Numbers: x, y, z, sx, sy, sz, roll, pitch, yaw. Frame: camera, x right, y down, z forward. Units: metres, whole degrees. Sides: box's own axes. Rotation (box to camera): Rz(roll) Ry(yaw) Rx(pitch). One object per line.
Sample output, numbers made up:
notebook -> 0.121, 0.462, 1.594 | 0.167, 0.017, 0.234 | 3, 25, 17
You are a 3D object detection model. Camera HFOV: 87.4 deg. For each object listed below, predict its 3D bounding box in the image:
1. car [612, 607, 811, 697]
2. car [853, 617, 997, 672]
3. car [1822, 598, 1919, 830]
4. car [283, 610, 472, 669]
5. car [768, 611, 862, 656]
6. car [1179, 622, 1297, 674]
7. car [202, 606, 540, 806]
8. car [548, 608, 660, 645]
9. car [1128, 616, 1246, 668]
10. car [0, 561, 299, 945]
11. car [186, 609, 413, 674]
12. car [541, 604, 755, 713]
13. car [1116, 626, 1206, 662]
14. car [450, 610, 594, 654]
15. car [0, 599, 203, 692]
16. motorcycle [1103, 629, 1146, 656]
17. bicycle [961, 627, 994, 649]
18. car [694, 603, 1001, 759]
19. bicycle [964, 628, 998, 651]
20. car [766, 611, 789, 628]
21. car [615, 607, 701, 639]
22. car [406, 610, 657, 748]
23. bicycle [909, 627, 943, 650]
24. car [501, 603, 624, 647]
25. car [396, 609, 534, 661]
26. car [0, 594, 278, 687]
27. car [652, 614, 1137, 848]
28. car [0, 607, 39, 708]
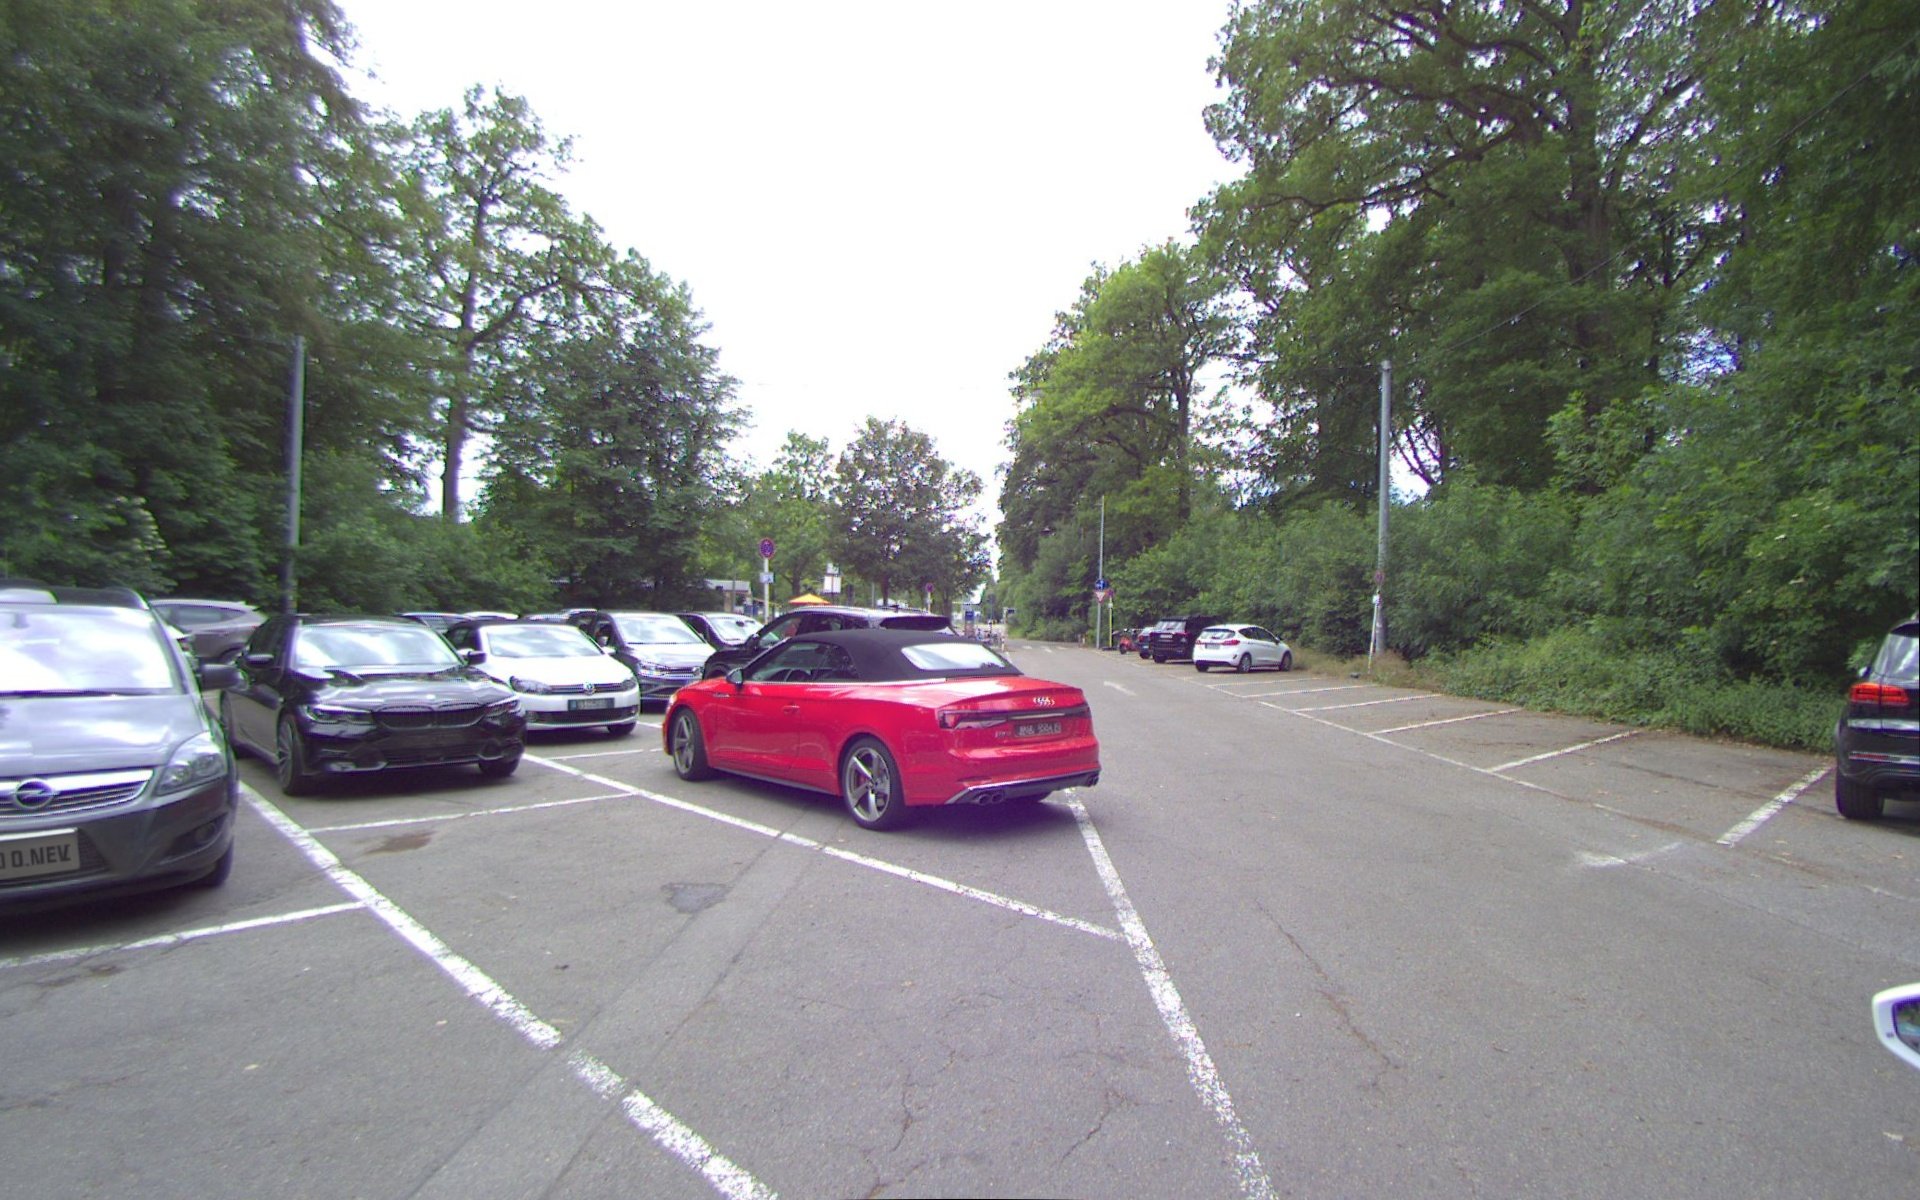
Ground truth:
car -> -4.997, 0.978, 19.986 | 3.939, 1.575, 1.865 | 0, -2, 40
car -> -1.111, 1.279, 30.095 | 4.256, 1.461, 1.859 | 0, -1, 44
car -> 8.766, 0.895, 8.521 | 4.042, 1.707, 1.762 | 2, -1, -43
car -> -15.854, 1.080, 27.477 | 4.158, 1.477, 1.781 | 3, -1, -44
car -> -5.560, 1.256, 38.273 | 3.603, 1.606, 1.677 | 0, -1, 44
car -> 8.843, 1.506, 31.803 | 3.972, 1.530, 1.846 | 3, -2, -44
car -> -5.774, 0.819, 9.602 | 4.221, 1.462, 1.749 | 0, -1, 45
car -> -15.100, 1.132, 42.721 | 4.087, 1.457, 1.847 | 2, -1, -41
car -> 8.585, 1.563, 37.756 | 4.676, 1.790, 2.085 | 3, -2, -44
car -> -5.481, 0.649, 5.912 | 1.818, 1.630, 4.329 | 2, -1, -45
car -> -15.797, 0.972, 24.173 | 1.938, 1.396, 4.237 | 0, -1, 44
car -> -5.303, 0.901, 16.824 | 1.835, 1.608, 3.925 | 3, -2, -44
car -> 8.488, 1.819, 42.233 | 3.972, 1.394, 1.718 | 2, -1, -44
car -> -15.278, 1.119, 35.157 | 4.261, 1.432, 1.906 | 2, -1, -40
car -> -15.527, 0.757, 17.228 | 3.967, 1.486, 1.814 | 3, -2, -40
motorcycle -> 7.637, 1.978, 46.705 | 2.008, 1.224, 0.724 | 2, -1, -34
bicycle -> 0.915, 1.988, 52.741 | 1.663, 1.126, 0.483 | 1, 0, 9
car -> -1.561, 0.913, 13.026 | 3.945, 1.685, 1.887 | 0, -1, 44
bicycle -> 1.081, 2.017, 51.464 | 1.651, 1.126, 0.506 | 1, 0, 7
car -> -17.341, 1.864, 95.529 | 1.965, 1.572, 3.991 | 2, -1, -12
car -> -15.118, 1.173, 50.424 | 1.677, 1.512, 3.768 | 0, -1, 45
car -> -5.597, 0.898, 12.893 | 1.760, 1.462, 3.797 | 2, -1, -43
bicycle -> -1.735, 1.961, 51.570 | 1.651, 1.126, 0.483 | 1, -1, 4
car -> -15.422, 0.972, 39.079 | 4.087, 1.639, 1.820 | 2, -1, -41
car -> -15.545, 1.090, 31.609 | 3.556, 1.524, 1.714 | 2, -1, -42
car -> -16.272, 0.780, 19.957 | 4.234, 1.658, 1.940 | 2, -1, -44
car -> -0.789, 0.883, 8.574 | 1.757, 1.412, 4.335 | 2, -1, -43
car -> -15.562, 0.791, 13.989 | 3.974, 1.441, 1.885 | 2, -2, -44
